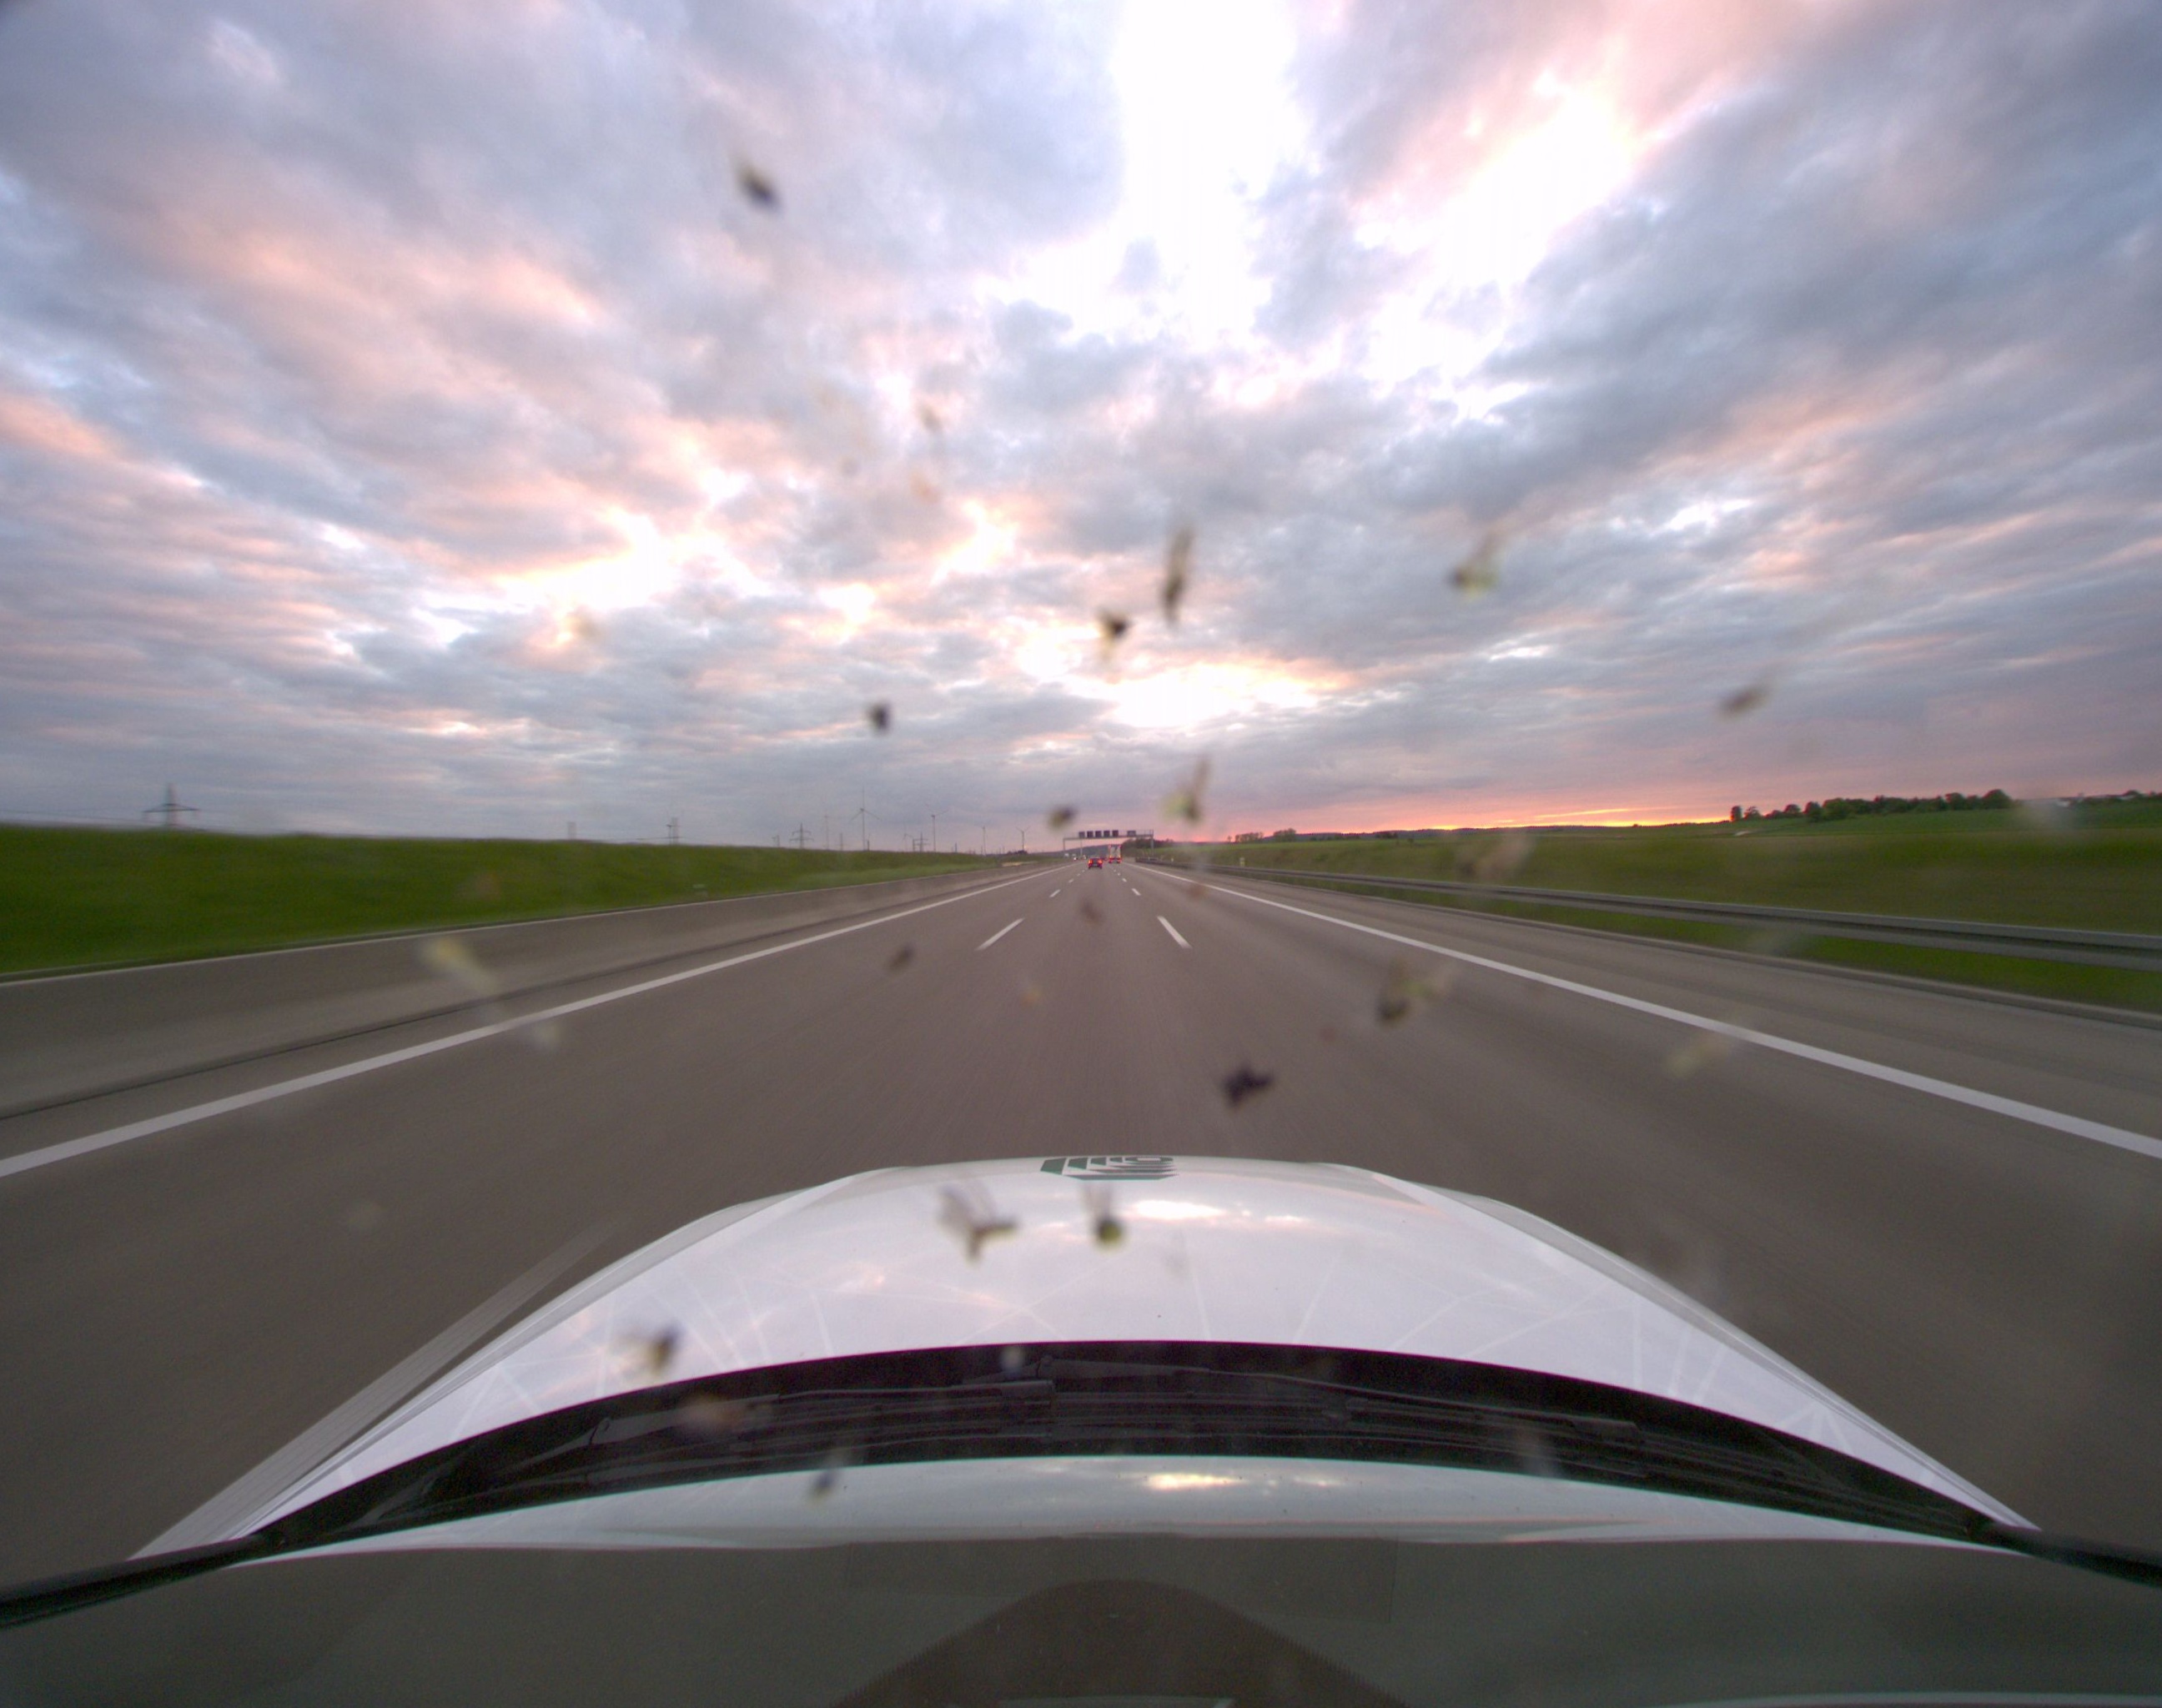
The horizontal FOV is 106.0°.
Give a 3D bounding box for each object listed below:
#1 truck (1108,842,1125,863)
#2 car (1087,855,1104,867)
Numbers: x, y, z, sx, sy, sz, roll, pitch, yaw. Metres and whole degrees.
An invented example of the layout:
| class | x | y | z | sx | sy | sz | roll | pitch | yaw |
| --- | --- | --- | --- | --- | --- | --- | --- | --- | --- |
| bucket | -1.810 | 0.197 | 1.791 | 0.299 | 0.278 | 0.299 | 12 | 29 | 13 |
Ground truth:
| class | x | y | z | sx | sy | sz | roll | pitch | yaw |
| --- | --- | --- | --- | --- | --- | --- | --- | --- | --- |
| truck | 8.301 | -0.356 | 193.100 | 3.662 | 4.565 | 10.984 | -2 | 0 | 2 |
| car | 1.868 | 0.906 | 103.194 | 1.980 | 1.429 | 4.002 | -2 | 0 | 2 |
